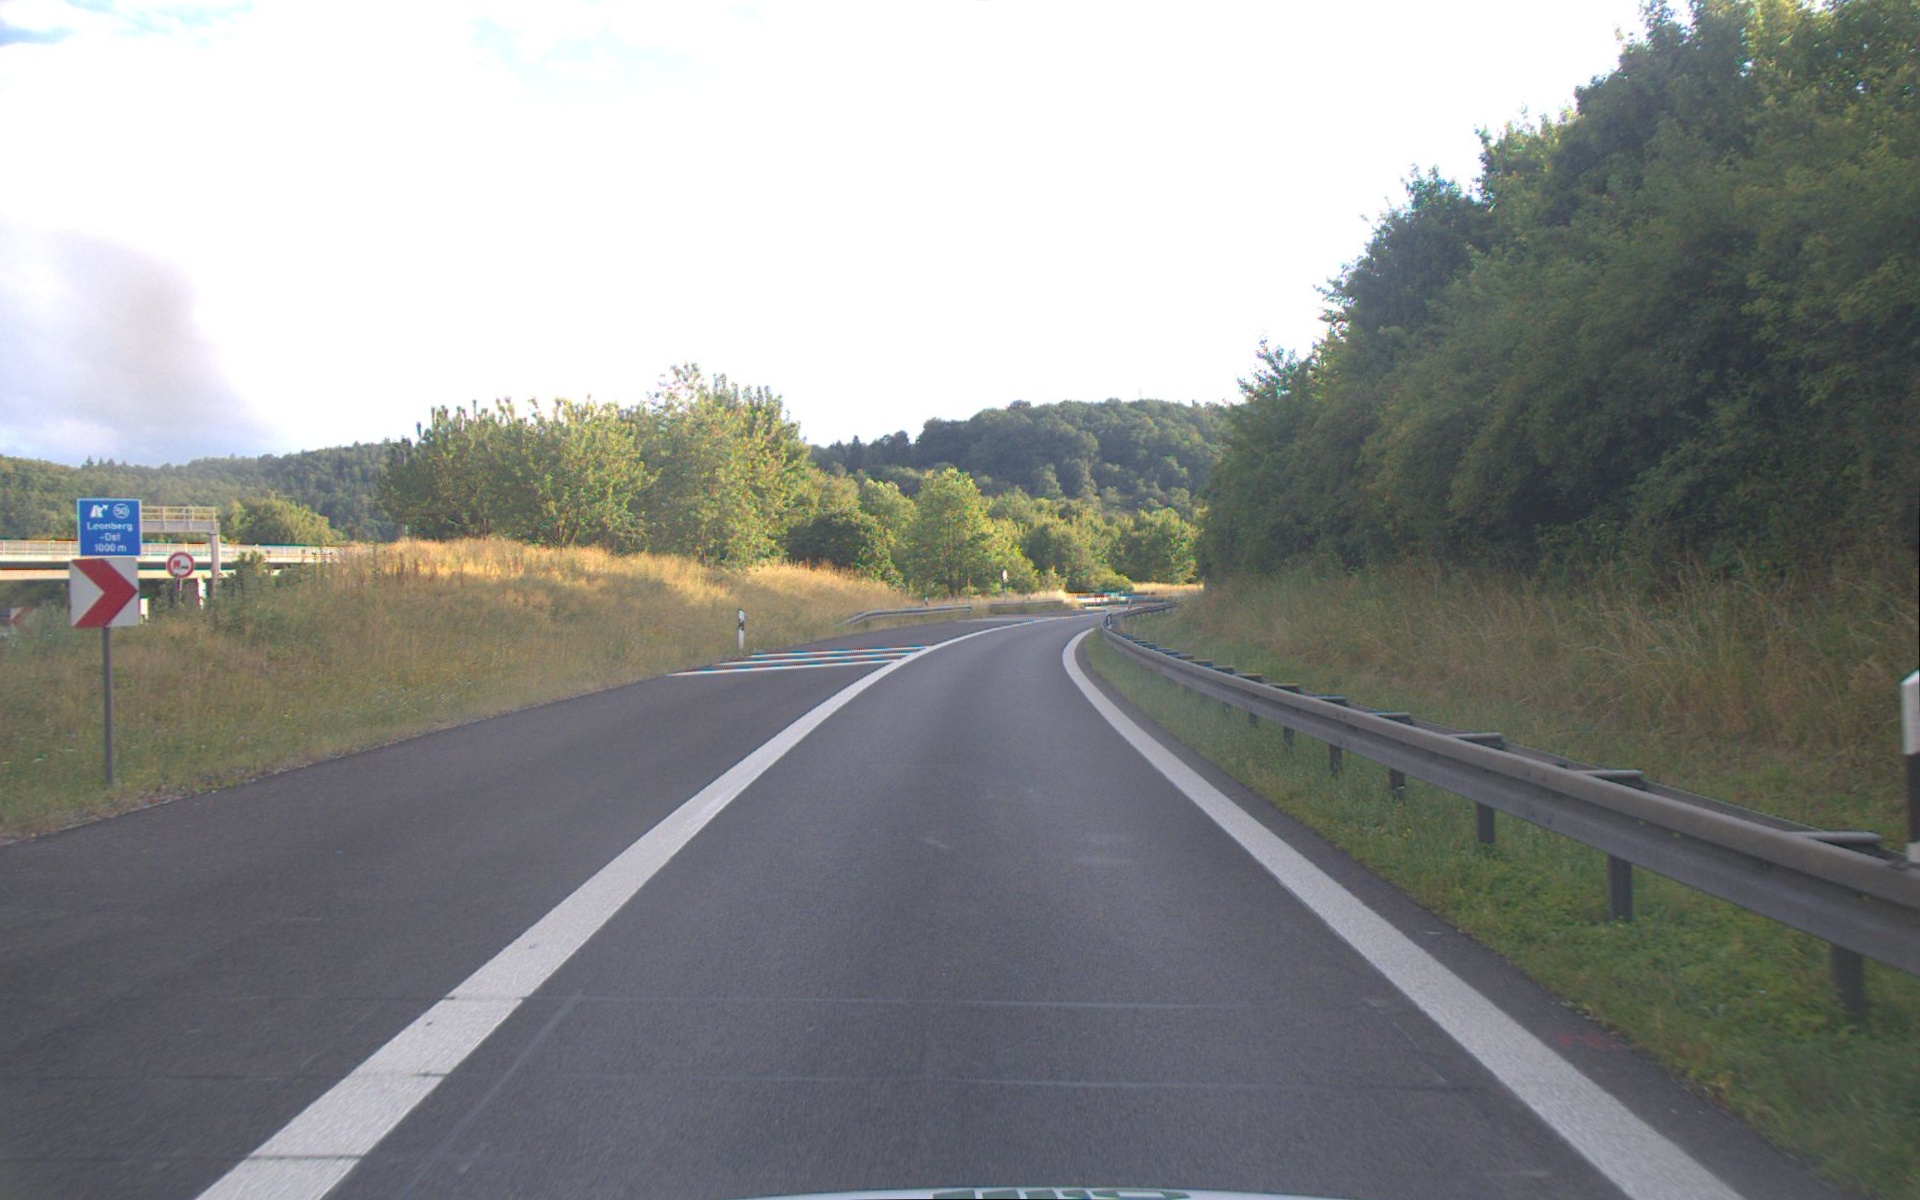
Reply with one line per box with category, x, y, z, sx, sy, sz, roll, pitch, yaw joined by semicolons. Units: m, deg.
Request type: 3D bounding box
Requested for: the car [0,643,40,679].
car;-42.803;2.768;74.516;1.579;1.492;3.509;-4;0;-18
